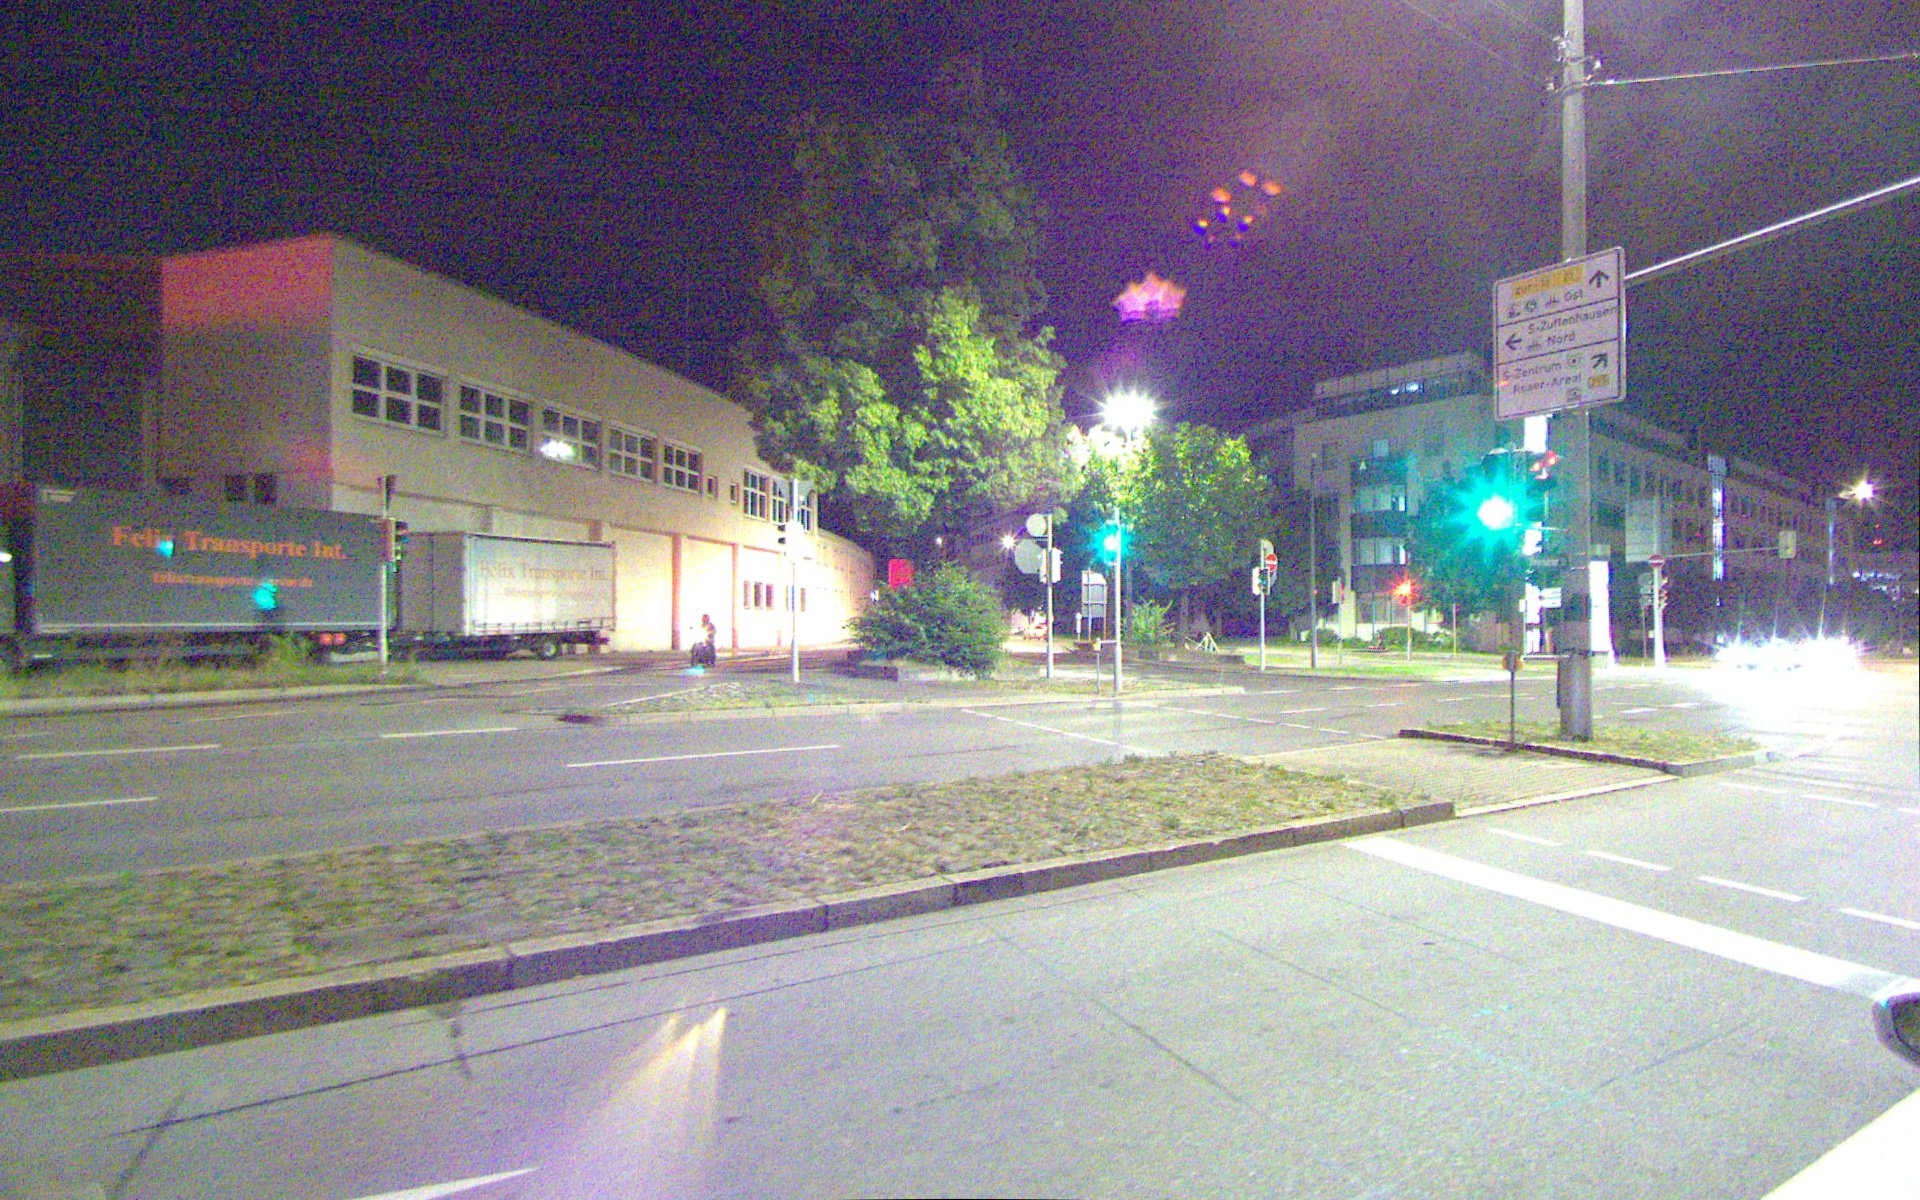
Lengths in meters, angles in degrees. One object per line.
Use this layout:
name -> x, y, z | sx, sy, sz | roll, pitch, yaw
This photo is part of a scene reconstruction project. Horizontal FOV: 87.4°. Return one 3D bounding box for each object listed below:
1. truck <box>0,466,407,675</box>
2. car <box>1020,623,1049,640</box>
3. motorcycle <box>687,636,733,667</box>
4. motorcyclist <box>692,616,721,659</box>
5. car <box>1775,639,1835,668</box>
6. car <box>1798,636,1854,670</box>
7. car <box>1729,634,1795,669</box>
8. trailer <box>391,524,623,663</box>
truck -> -17.628, -0.432, 22.181 | 2.892, 3.846, 9.552 | 1, -2, 24
car -> 7.157, 3.036, 96.558 | 1.680, 1.511, 3.990 | 2, -2, -13
motorcycle -> -7.528, 1.536, 30.348 | 0.568, 0.907, 2.157 | -1, -2, 9
motorcyclist -> -7.618, 1.123, 30.168 | 0.635, 1.278, 0.579 | 1, -1, 9
car -> 42.832, 2.702, 50.892 | 3.518, 1.339, 1.743 | 3, -2, -39
car -> 46.883, 2.874, 54.385 | 3.518, 1.750, 1.743 | 3, -2, -39
car -> 37.049, 2.382, 46.383 | 3.966, 1.535, 1.603 | 3, -2, -39
trailer -> -13.807, -0.072, 31.263 | 2.571, 3.840, 6.512 | 1, -2, 23
